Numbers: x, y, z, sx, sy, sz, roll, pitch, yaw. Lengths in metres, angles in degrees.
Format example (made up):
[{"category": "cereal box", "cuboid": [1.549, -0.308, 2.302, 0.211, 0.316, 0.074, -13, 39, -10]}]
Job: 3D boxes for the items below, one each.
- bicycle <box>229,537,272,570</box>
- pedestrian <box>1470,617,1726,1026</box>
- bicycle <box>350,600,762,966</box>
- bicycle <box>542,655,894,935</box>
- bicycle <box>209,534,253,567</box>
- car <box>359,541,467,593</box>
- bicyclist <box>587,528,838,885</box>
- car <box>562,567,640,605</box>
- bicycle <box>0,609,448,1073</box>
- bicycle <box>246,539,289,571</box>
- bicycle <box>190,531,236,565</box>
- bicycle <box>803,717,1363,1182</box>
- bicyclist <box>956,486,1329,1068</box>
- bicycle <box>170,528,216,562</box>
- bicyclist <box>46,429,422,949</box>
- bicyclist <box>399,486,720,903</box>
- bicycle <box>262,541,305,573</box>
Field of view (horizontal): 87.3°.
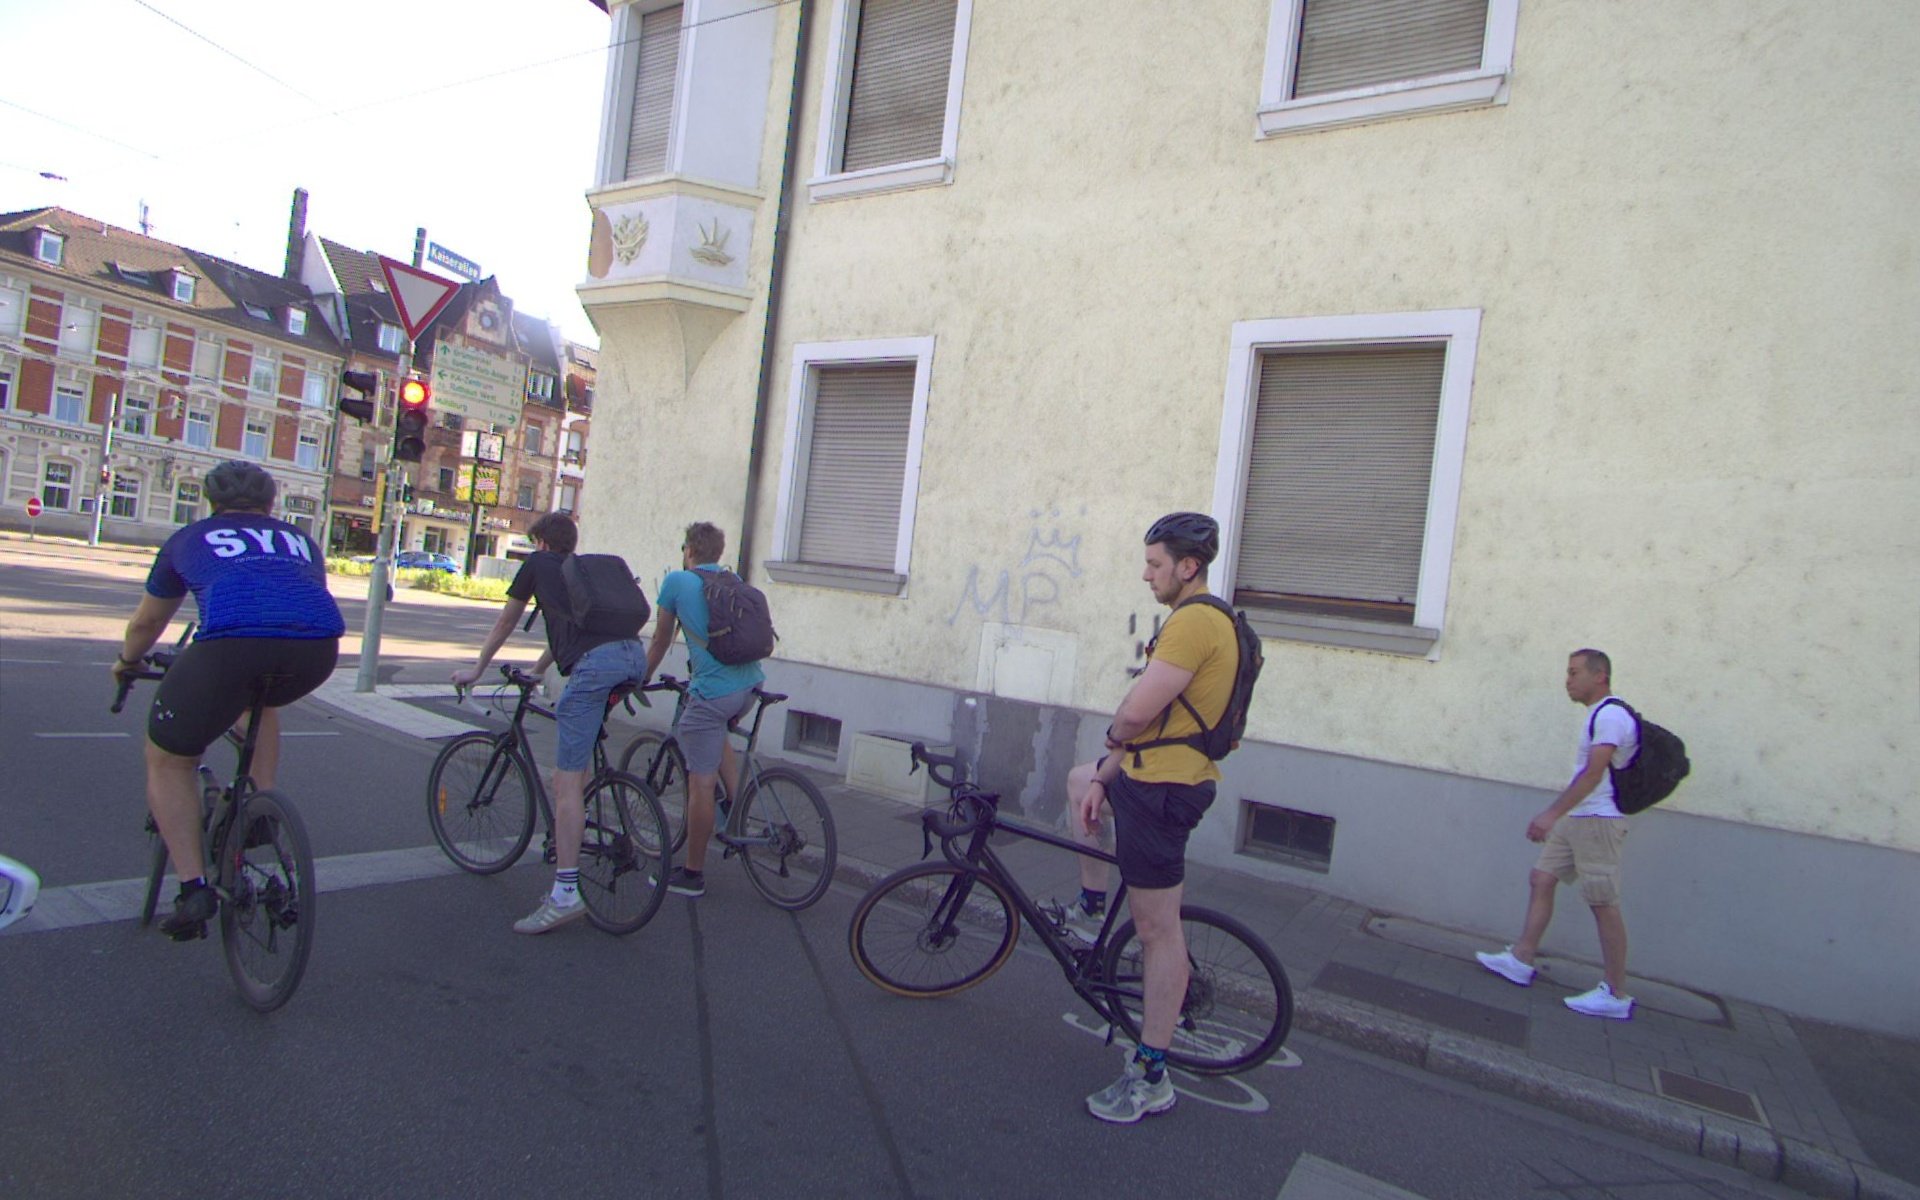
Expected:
[{"category": "bicycle", "cuboid": [-33.415, -2.215, 47.358, 2.618, 1.301, 0.629, 6, -1, 33]}, {"category": "pedestrian", "cuboid": [2.990, 1.011, 4.772, 0.631, 1.780, 0.584, 4, 3, -7]}, {"category": "bicycle", "cuboid": [-1.865, 0.734, 4.600, 1.674, 1.251, 0.756, 6, -1, 30]}, {"category": "bicycle", "cuboid": [-1.290, 0.928, 5.234, 1.742, 1.043, 0.650, 6, -1, 33]}, {"category": "bicycle", "cuboid": [-33.832, -2.299, 46.686, 2.618, 1.301, 0.629, 6, -1, 33]}, {"category": "car", "cuboid": [-25.456, -1.493, 46.902, 1.967, 1.798, 3.790, 6, -2, 31]}, {"category": "bicyclist", "cuboid": [-1.293, 0.519, 5.281, 0.869, 1.652, 0.690, 6, -1, 34]}, {"category": "car", "cuboid": [-23.243, -0.871, 65.281, 1.967, 1.798, 4.374, 6, -2, 31]}, {"category": "bicycle", "cuboid": [-2.566, 0.683, 3.438, 1.676, 1.097, 0.627, 6, -1, 35]}, {"category": "bicycle", "cuboid": [-33.048, -2.155, 47.988, 2.618, 1.301, 0.629, 6, -1, 33]}, {"category": "bicycle", "cuboid": [-34.198, -2.370, 46.061, 2.618, 1.301, 0.693, 6, -1, 33]}, {"category": "bicycle", "cuboid": [0.400, 1.076, 3.628, 1.751, 1.043, 0.756, 6, -2, 33]}, {"category": "bicyclist", "cuboid": [0.660, 0.528, 3.513, 0.869, 1.682, 0.807, 6, -1, 32]}, {"category": "bicycle", "cuboid": [-34.572, -2.483, 45.360, 2.618, 1.301, 0.693, 6, -1, 33]}, {"category": "bicyclist", "cuboid": [-2.478, 0.250, 3.433, 0.869, 1.512, 0.639, 9, 0, 36]}, {"category": "bicyclist", "cuboid": [-1.787, 0.387, 4.545, 0.868, 1.625, 0.807, 6, -1, 30]}, {"category": "bicycle", "cuboid": [-32.678, -2.075, 48.577, 2.618, 1.301, 0.629, 6, -1, 33]}]
